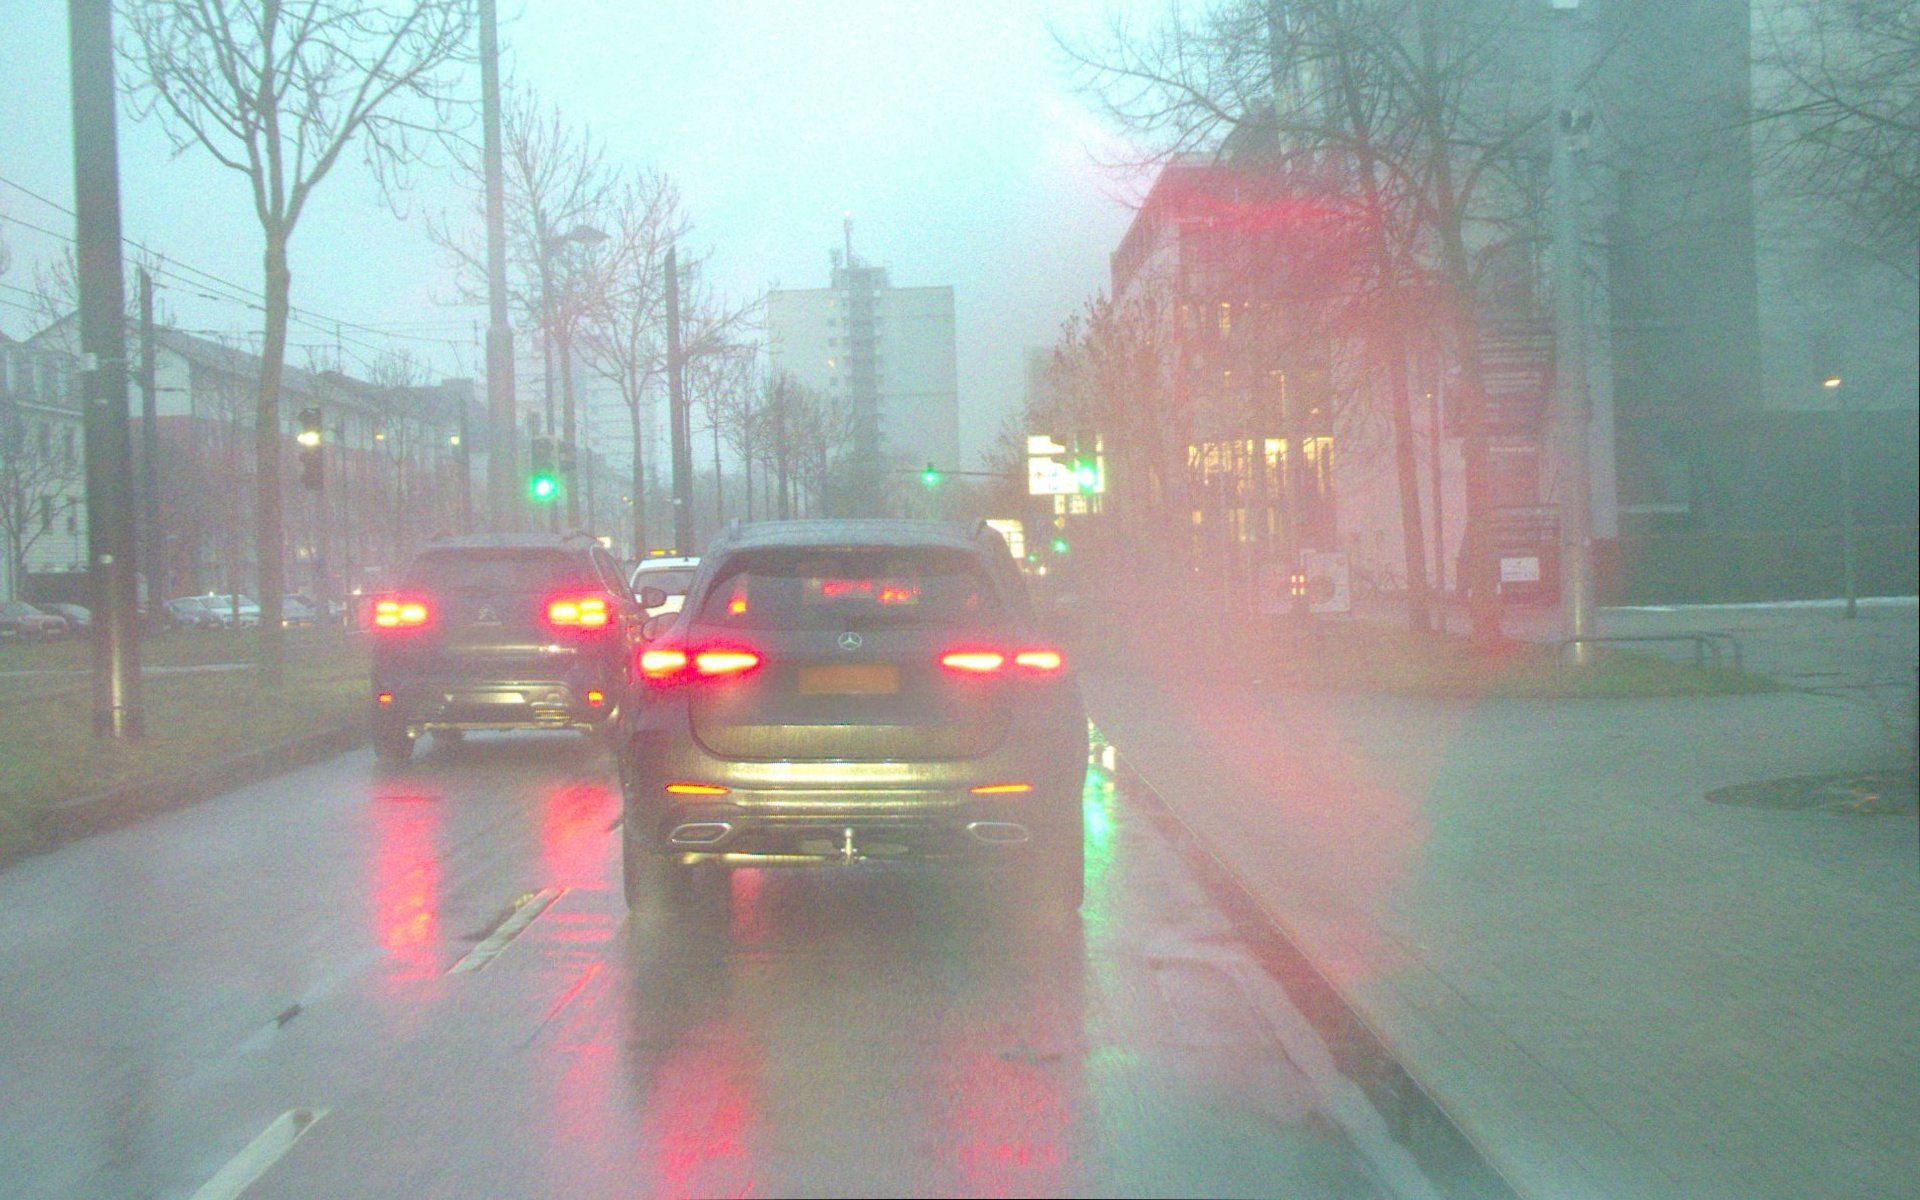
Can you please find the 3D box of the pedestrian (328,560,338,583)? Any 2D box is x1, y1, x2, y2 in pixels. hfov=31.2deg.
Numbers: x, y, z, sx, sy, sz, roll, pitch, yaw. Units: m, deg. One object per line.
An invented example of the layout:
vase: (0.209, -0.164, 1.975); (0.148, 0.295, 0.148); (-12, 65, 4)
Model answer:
pedestrian: (-31.518, -1.424, 172.760); (0.345, 1.180, 0.434); (0, 0, -41)

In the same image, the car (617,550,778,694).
car: (-3.067, 0.227, 40.702); (1.689, 1.630, 3.474); (0, 1, -1)

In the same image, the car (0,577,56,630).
car: (-29.331, 0.088, 104.508); (3.846, 1.583, 1.738); (1, 1, 41)

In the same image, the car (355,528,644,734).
car: (-3.417, 0.197, 26.146); (1.817, 1.445, 4.000); (0, 1, -2)

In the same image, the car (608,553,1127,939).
car: (-0.376, 0.549, 15.052); (1.993, 1.478, 3.700); (0, 0, -1)

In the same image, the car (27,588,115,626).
car: (-28.987, 0.223, 112.096); (2.885, 1.199, 1.385); (1, 1, 41)

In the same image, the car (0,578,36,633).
car: (-28.594, 0.151, 98.809); (4.157, 1.536, 1.666); (0, 1, 36)
